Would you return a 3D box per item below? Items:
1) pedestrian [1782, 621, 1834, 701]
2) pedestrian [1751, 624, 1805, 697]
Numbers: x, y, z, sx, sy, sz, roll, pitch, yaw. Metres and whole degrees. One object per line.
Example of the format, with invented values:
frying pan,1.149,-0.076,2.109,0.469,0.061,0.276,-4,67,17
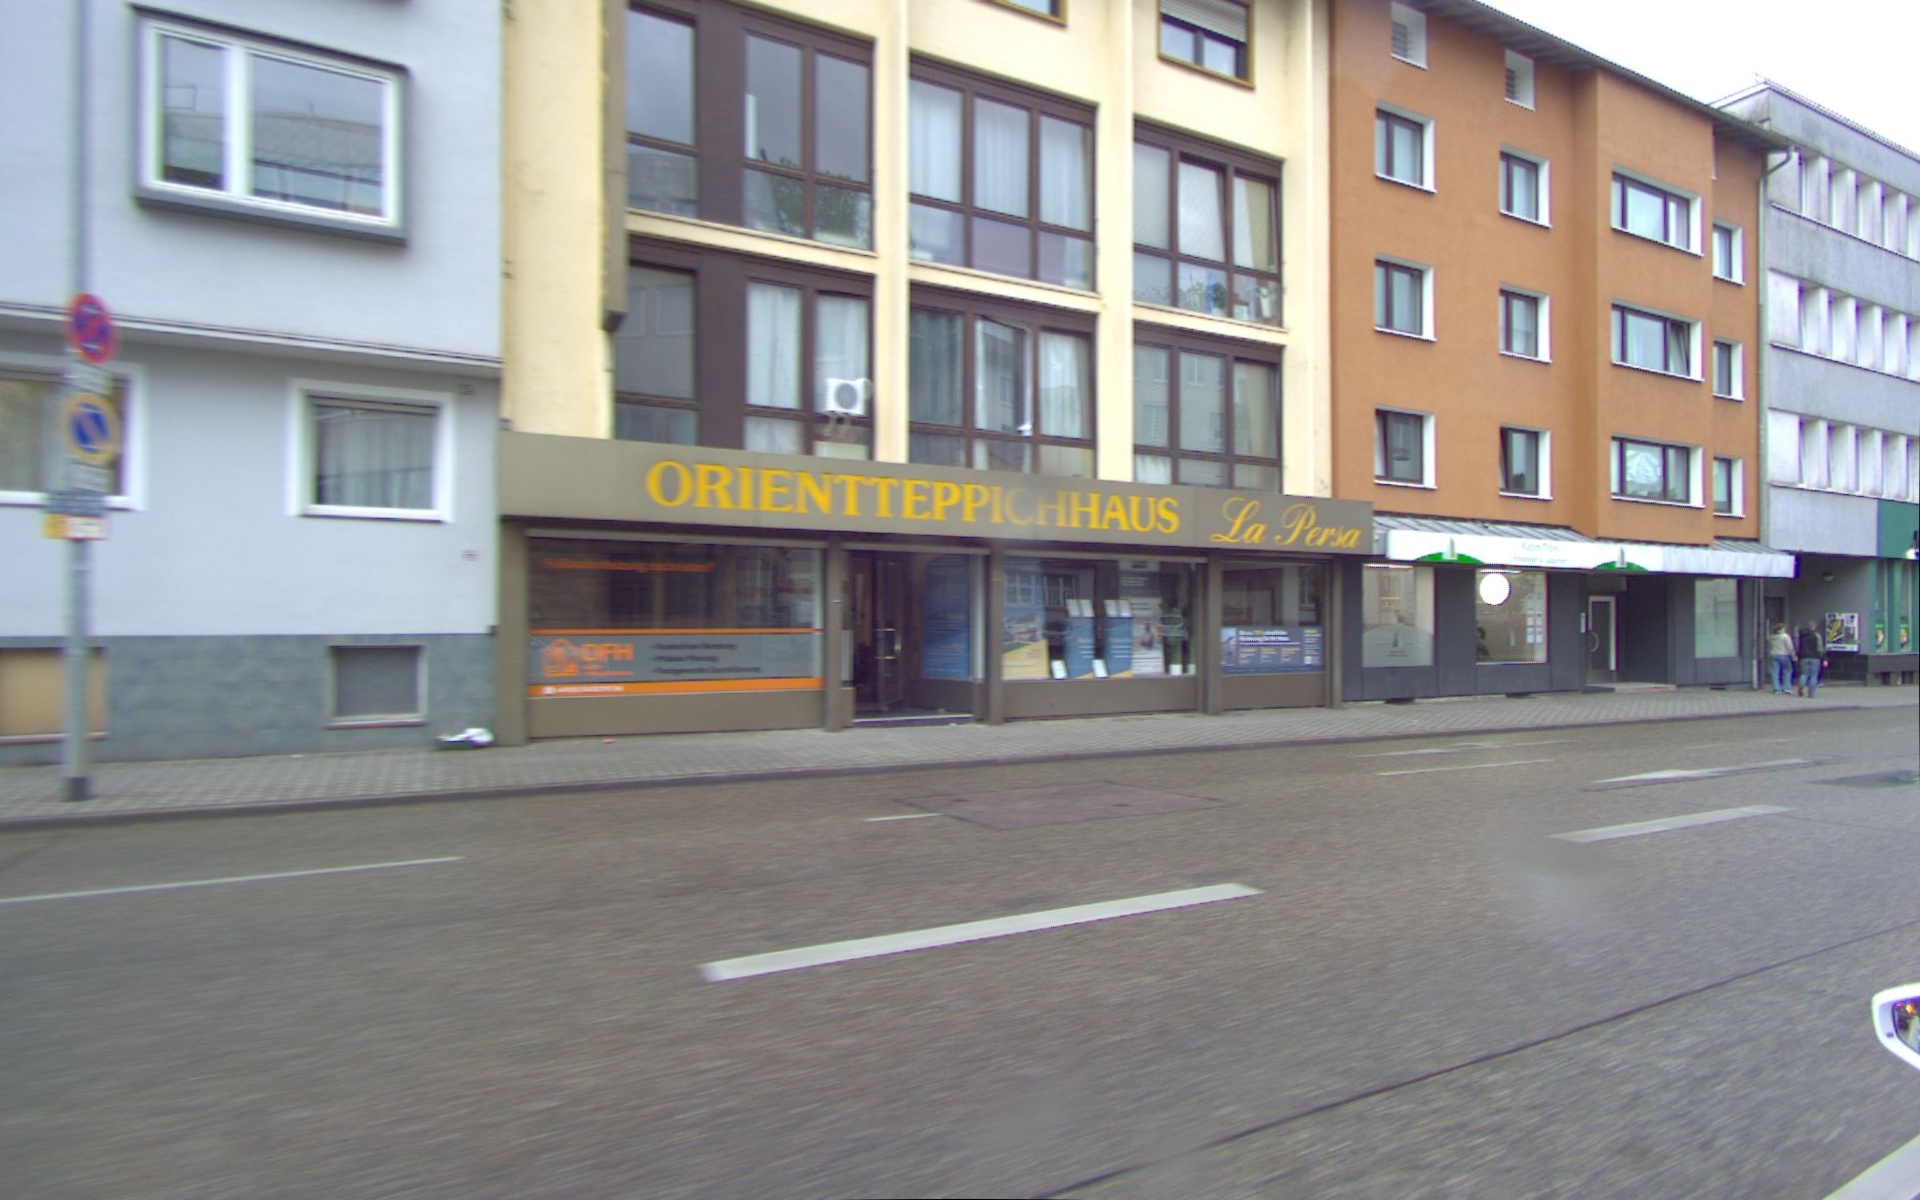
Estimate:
pedestrian,20.093,1.431,23.798,0.816,1.812,0.573,1,3,-27
pedestrian,19.855,1.460,24.388,0.897,1.698,0.627,1,3,-28
